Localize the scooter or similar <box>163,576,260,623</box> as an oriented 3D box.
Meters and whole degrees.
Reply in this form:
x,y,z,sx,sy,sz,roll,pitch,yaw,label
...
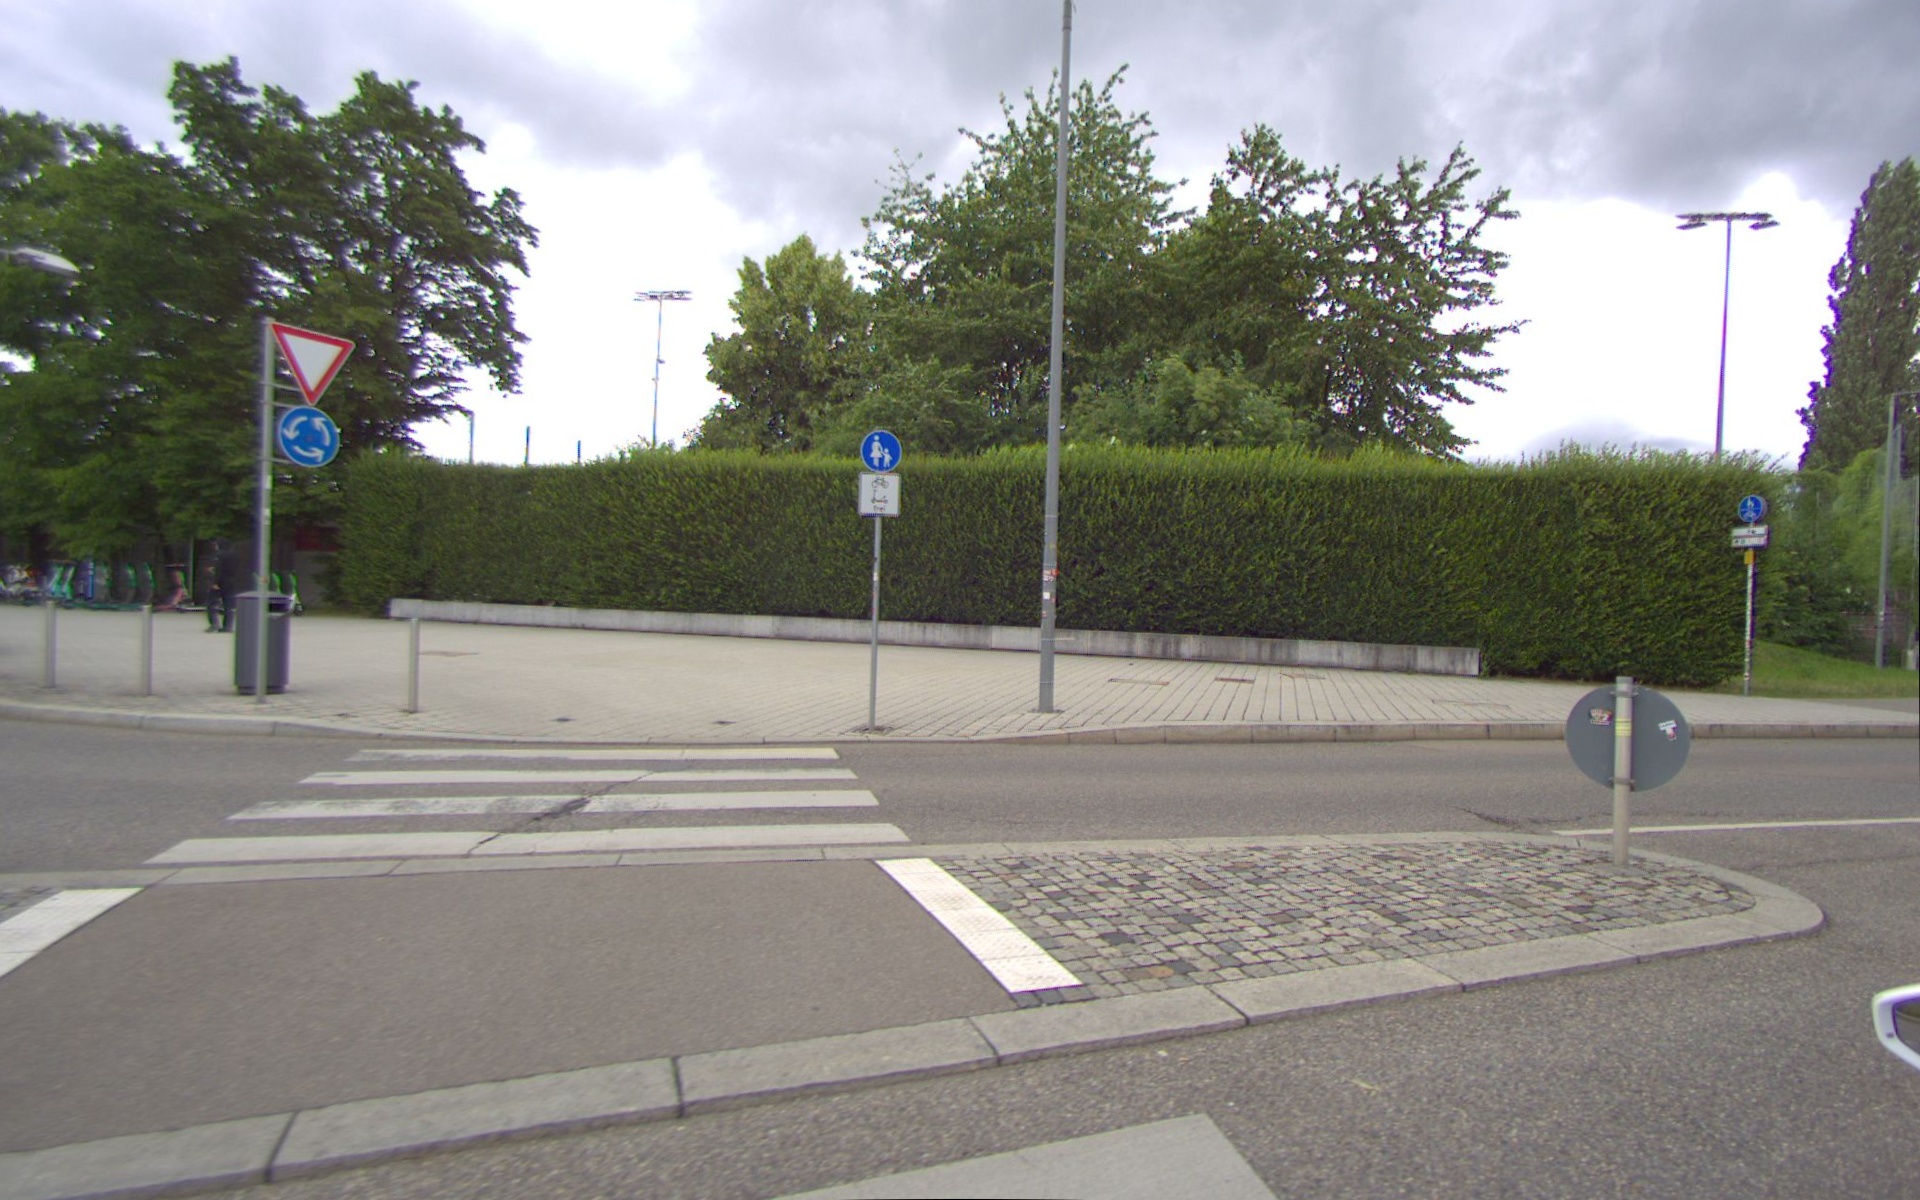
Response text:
x,y,z,sx,sy,sz,roll,pitch,yaw,label
-18.666,-0.019,25.109,0.627,1.124,1.976,1,1,15,scooter or similar

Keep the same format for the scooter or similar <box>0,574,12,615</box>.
x,y,z,sx,sy,sz,roll,pitch,yaw,label
-27.193,-0.150,27.353,0.627,1.124,1.976,1,1,15,scooter or similar

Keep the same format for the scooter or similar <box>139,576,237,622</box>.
x,y,z,sx,sy,sz,roll,pitch,yaw,label
-19.371,-0.032,25.263,0.627,1.124,1.976,1,1,15,scooter or similar

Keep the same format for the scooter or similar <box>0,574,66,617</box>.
x,y,z,sx,sy,sz,roll,pitch,yaw,label
-25.202,-0.126,26.823,0.627,1.124,1.976,1,1,15,scooter or similar

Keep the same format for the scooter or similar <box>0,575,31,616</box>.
x,y,z,sx,sy,sz,roll,pitch,yaw,label
-26.517,-0.132,27.180,0.627,1.124,1.976,1,1,15,scooter or similar

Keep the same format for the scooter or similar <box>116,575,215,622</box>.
x,y,z,sx,sy,sz,roll,pitch,yaw,label
-20.093,-0.043,25.459,0.627,1.124,1.976,1,1,15,scooter or similar

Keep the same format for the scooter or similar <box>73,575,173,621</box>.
x,y,z,sx,sy,sz,roll,pitch,yaw,label
-21.437,-0.067,25.787,0.627,1.124,1.976,1,1,15,scooter or similar

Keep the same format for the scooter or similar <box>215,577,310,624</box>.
x,y,z,sx,sy,sz,roll,pitch,yaw,label
-17.107,0.002,24.690,0.627,1.124,1.976,1,1,15,scooter or similar

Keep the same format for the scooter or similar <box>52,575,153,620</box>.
x,y,z,sx,sy,sz,roll,pitch,yaw,label
-22.158,-0.079,26.011,0.627,1.124,1.976,1,1,15,scooter or similar

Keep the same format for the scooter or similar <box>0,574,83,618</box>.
x,y,z,sx,sy,sz,roll,pitch,yaw,label
-24.565,-0.111,26.637,0.627,1.124,1.976,1,1,15,scooter or similar

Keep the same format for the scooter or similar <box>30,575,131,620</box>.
x,y,z,sx,sy,sz,roll,pitch,yaw,label
-22.921,-0.084,26.225,0.627,1.124,1.976,1,1,15,scooter or similar

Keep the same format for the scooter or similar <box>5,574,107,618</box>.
x,y,z,sx,sy,sz,roll,pitch,yaw,label
-23.748,-0.111,26.440,0.627,1.124,1.976,1,1,15,scooter or similar

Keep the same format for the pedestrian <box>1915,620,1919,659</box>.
x,y,z,sx,sy,sz,roll,pitch,yaw,label
45.252,1.849,46.964,0.794,1.805,0.915,1,1,41,pedestrian

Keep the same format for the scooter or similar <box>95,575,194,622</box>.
x,y,z,sx,sy,sz,roll,pitch,yaw,label
-20.761,-0.048,25.624,0.627,1.124,1.976,1,1,15,scooter or similar

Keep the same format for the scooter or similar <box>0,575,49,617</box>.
x,y,z,sx,sy,sz,roll,pitch,yaw,label
-25.844,-0.122,27.003,0.627,1.124,1.976,1,1,15,scooter or similar

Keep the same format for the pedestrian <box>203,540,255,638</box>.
x,y,z,sx,sy,sz,roll,pitch,yaw,label
-14.129,-0.213,19.408,0.786,1.832,0.856,0,1,-38,pedestrian

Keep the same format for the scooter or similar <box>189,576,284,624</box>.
x,y,z,sx,sy,sz,roll,pitch,yaw,label
-17.904,-0.010,24.911,0.627,1.124,1.976,1,1,15,scooter or similar
